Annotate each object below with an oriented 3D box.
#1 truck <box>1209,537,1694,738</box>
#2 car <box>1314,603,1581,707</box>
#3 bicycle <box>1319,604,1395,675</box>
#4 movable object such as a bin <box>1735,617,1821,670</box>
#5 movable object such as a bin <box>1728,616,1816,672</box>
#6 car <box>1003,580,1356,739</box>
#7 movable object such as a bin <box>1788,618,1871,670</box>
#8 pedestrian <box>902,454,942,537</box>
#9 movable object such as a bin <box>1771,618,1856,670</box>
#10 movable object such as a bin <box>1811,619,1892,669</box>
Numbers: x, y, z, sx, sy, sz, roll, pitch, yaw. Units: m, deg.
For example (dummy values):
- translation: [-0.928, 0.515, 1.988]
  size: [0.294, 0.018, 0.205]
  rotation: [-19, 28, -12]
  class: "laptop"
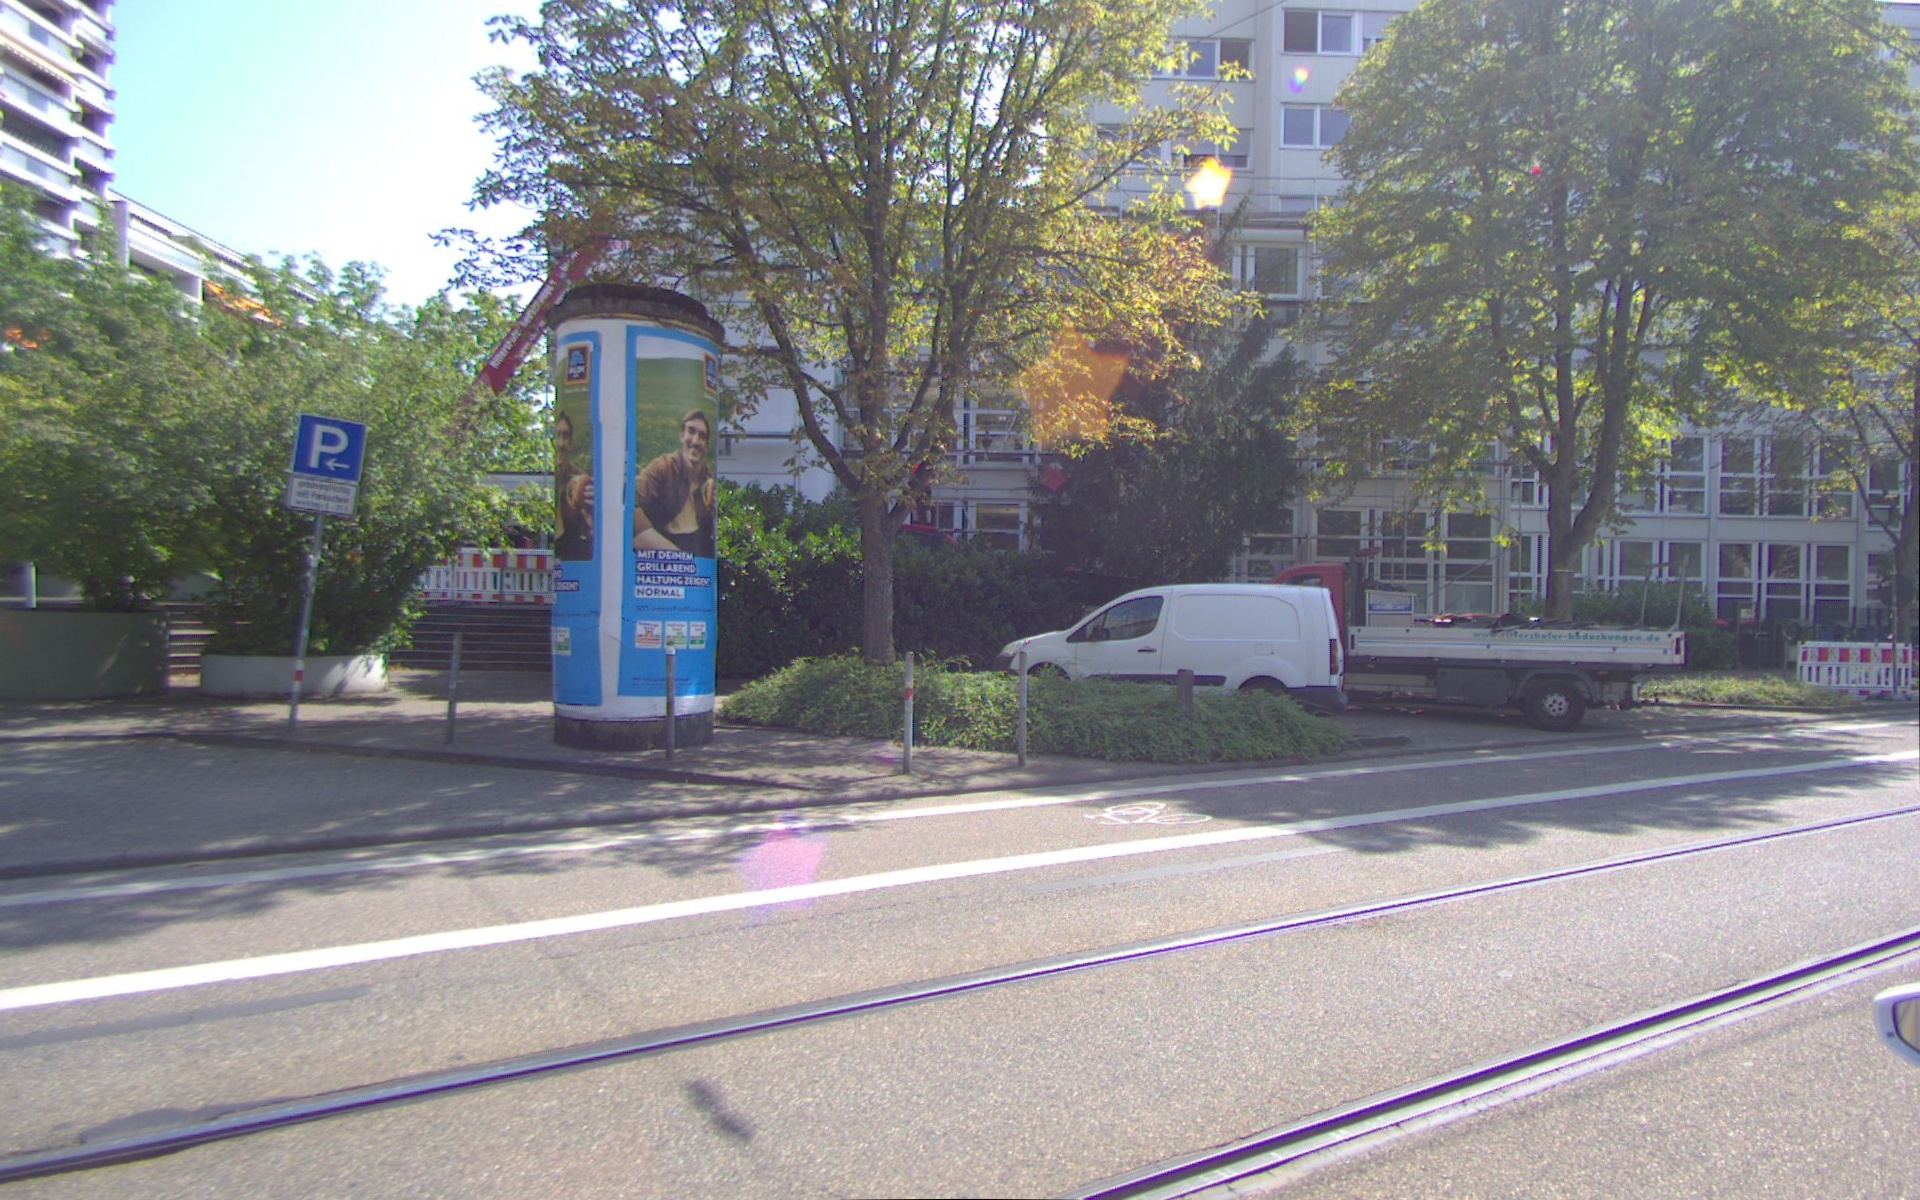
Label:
- translation: [6.761, 0.451, 14.514]
  size: [5.855, 2.467, 2.149]
  rotation: [1, 0, 24]
  class: "truck"
- translation: [7.895, 0.854, 16.660]
  size: [3.784, 1.528, 1.721]
  rotation: [1, -1, 19]
  class: "car"
- translation: [9.470, 0.903, 24.065]
  size: [0.591, 1.546, 2.343]
  rotation: [2, 1, -7]
  class: "bicycle"
- translation: [25.274, 1.332, 31.055]
  size: [1.337, 1.580, 1.676]
  rotation: [1, -1, -28]
  class: "movable object such as a bin"
- translation: [24.227, 1.289, 29.986]
  size: [1.337, 1.580, 1.676]
  rotation: [1, -1, -28]
  class: "movable object such as a bin"
- translation: [2.848, 0.678, 13.062]
  size: [4.201, 1.795, 1.825]
  rotation: [1, 0, 20]
  class: "car"
- translation: [28.101, 1.403, 32.470]
  size: [1.337, 1.580, 1.676]
  rotation: [1, -1, -28]
  class: "movable object such as a bin"
- translation: [-0.840, -2.313, 22.353]
  size: [0.834, 1.749, 0.751]
  rotation: [1, 0, -2]
  class: "pedestrian"
- translation: [26.826, 1.367, 31.588]
  size: [1.337, 1.580, 1.676]
  rotation: [1, -1, -28]
  class: "movable object such as a bin"
- translation: [29.397, 1.417, 33.137]
  size: [1.337, 1.580, 1.676]
  rotation: [1, -1, -28]
  class: "movable object such as a bin"
